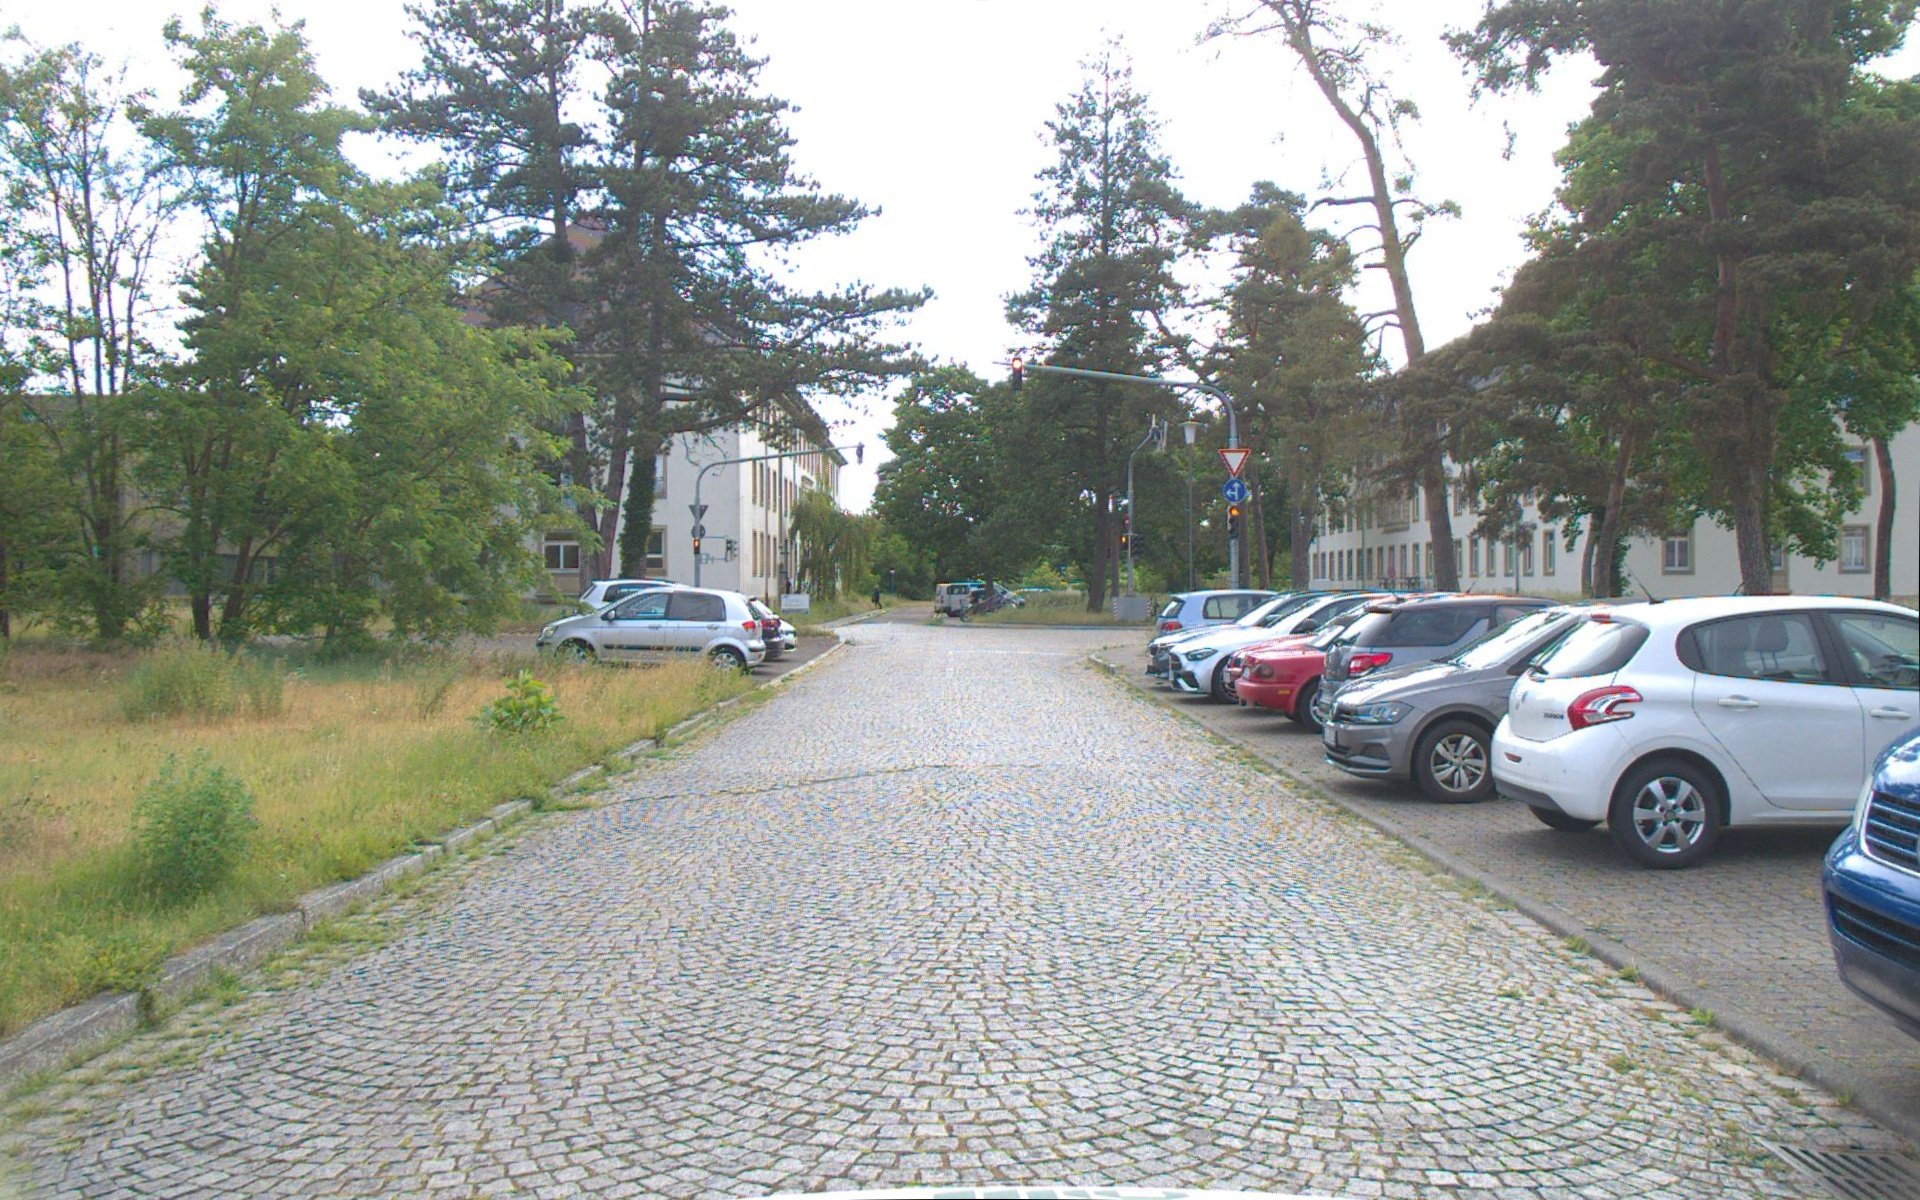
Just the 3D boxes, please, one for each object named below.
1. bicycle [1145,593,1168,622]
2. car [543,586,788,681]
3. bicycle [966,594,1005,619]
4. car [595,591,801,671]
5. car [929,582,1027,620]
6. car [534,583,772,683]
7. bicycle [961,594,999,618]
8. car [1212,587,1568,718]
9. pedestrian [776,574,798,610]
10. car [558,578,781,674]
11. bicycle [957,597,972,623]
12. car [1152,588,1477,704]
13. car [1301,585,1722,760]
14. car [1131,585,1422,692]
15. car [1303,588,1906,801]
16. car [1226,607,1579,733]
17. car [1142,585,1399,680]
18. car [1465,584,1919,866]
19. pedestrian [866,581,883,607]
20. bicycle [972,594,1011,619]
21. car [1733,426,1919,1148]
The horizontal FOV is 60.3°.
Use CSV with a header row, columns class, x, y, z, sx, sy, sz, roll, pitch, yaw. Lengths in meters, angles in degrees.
class,x,y,z,sx,sy,sz,roll,pitch,yaw
bicycle,7.770,0.289,65.391,0.649,1.069,1.888,1,1,0
car,-5.272,0.579,30.091,4.215,1.581,1.809,-1,0,-6
bicycle,1.263,0.319,82.428,1.845,1.191,0.664,1,0,-6
car,-5.537,0.634,35.348,4.215,1.581,1.809,-1,0,-6
car,1.030,0.052,95.402,5.283,2.138,2.172,0,0,-13
car,-5.031,0.526,27.497,3.646,1.506,1.672,2,0,-3
bicycle,1.014,0.310,84.095,1.845,1.191,0.664,1,0,-6
car,5.335,0.623,20.840,4.022,1.502,1.684,-1,0,-2
pedestrian,-9.723,-0.457,93.006,1.052,1.993,1.121,1,0,0
car,-5.711,0.488,32.892,4.215,1.762,1.651,-1,0,-6
bicycle,0.216,0.459,75.957,0.649,1.191,1.887,1,0,0
car,4.921,0.603,23.198,4.106,1.462,1.752,-1,0,-8
car,5.187,0.645,15.871,3.434,1.513,1.743,-1,0,-1
car,4.926,0.565,25.965,4.153,1.505,1.705,-1,0,-11
car,4.905,0.685,13.001,4.046,1.472,1.766,-1,0,0
car,4.857,0.754,18.494,3.513,1.244,1.629,-1,0,1
car,5.310,0.528,28.522,4.055,1.489,1.631,-1,0,-6
car,5.152,0.682,10.099,3.579,1.504,1.765,-1,0,-1
pedestrian,-6.462,-0.449,124.976,1.215,1.993,1.120,1,0,-6
bicycle,1.528,0.328,80.602,1.845,1.191,0.664,1,0,-6
car,5.047,0.483,4.789,4.699,2.039,1.965,-1,0,-2
